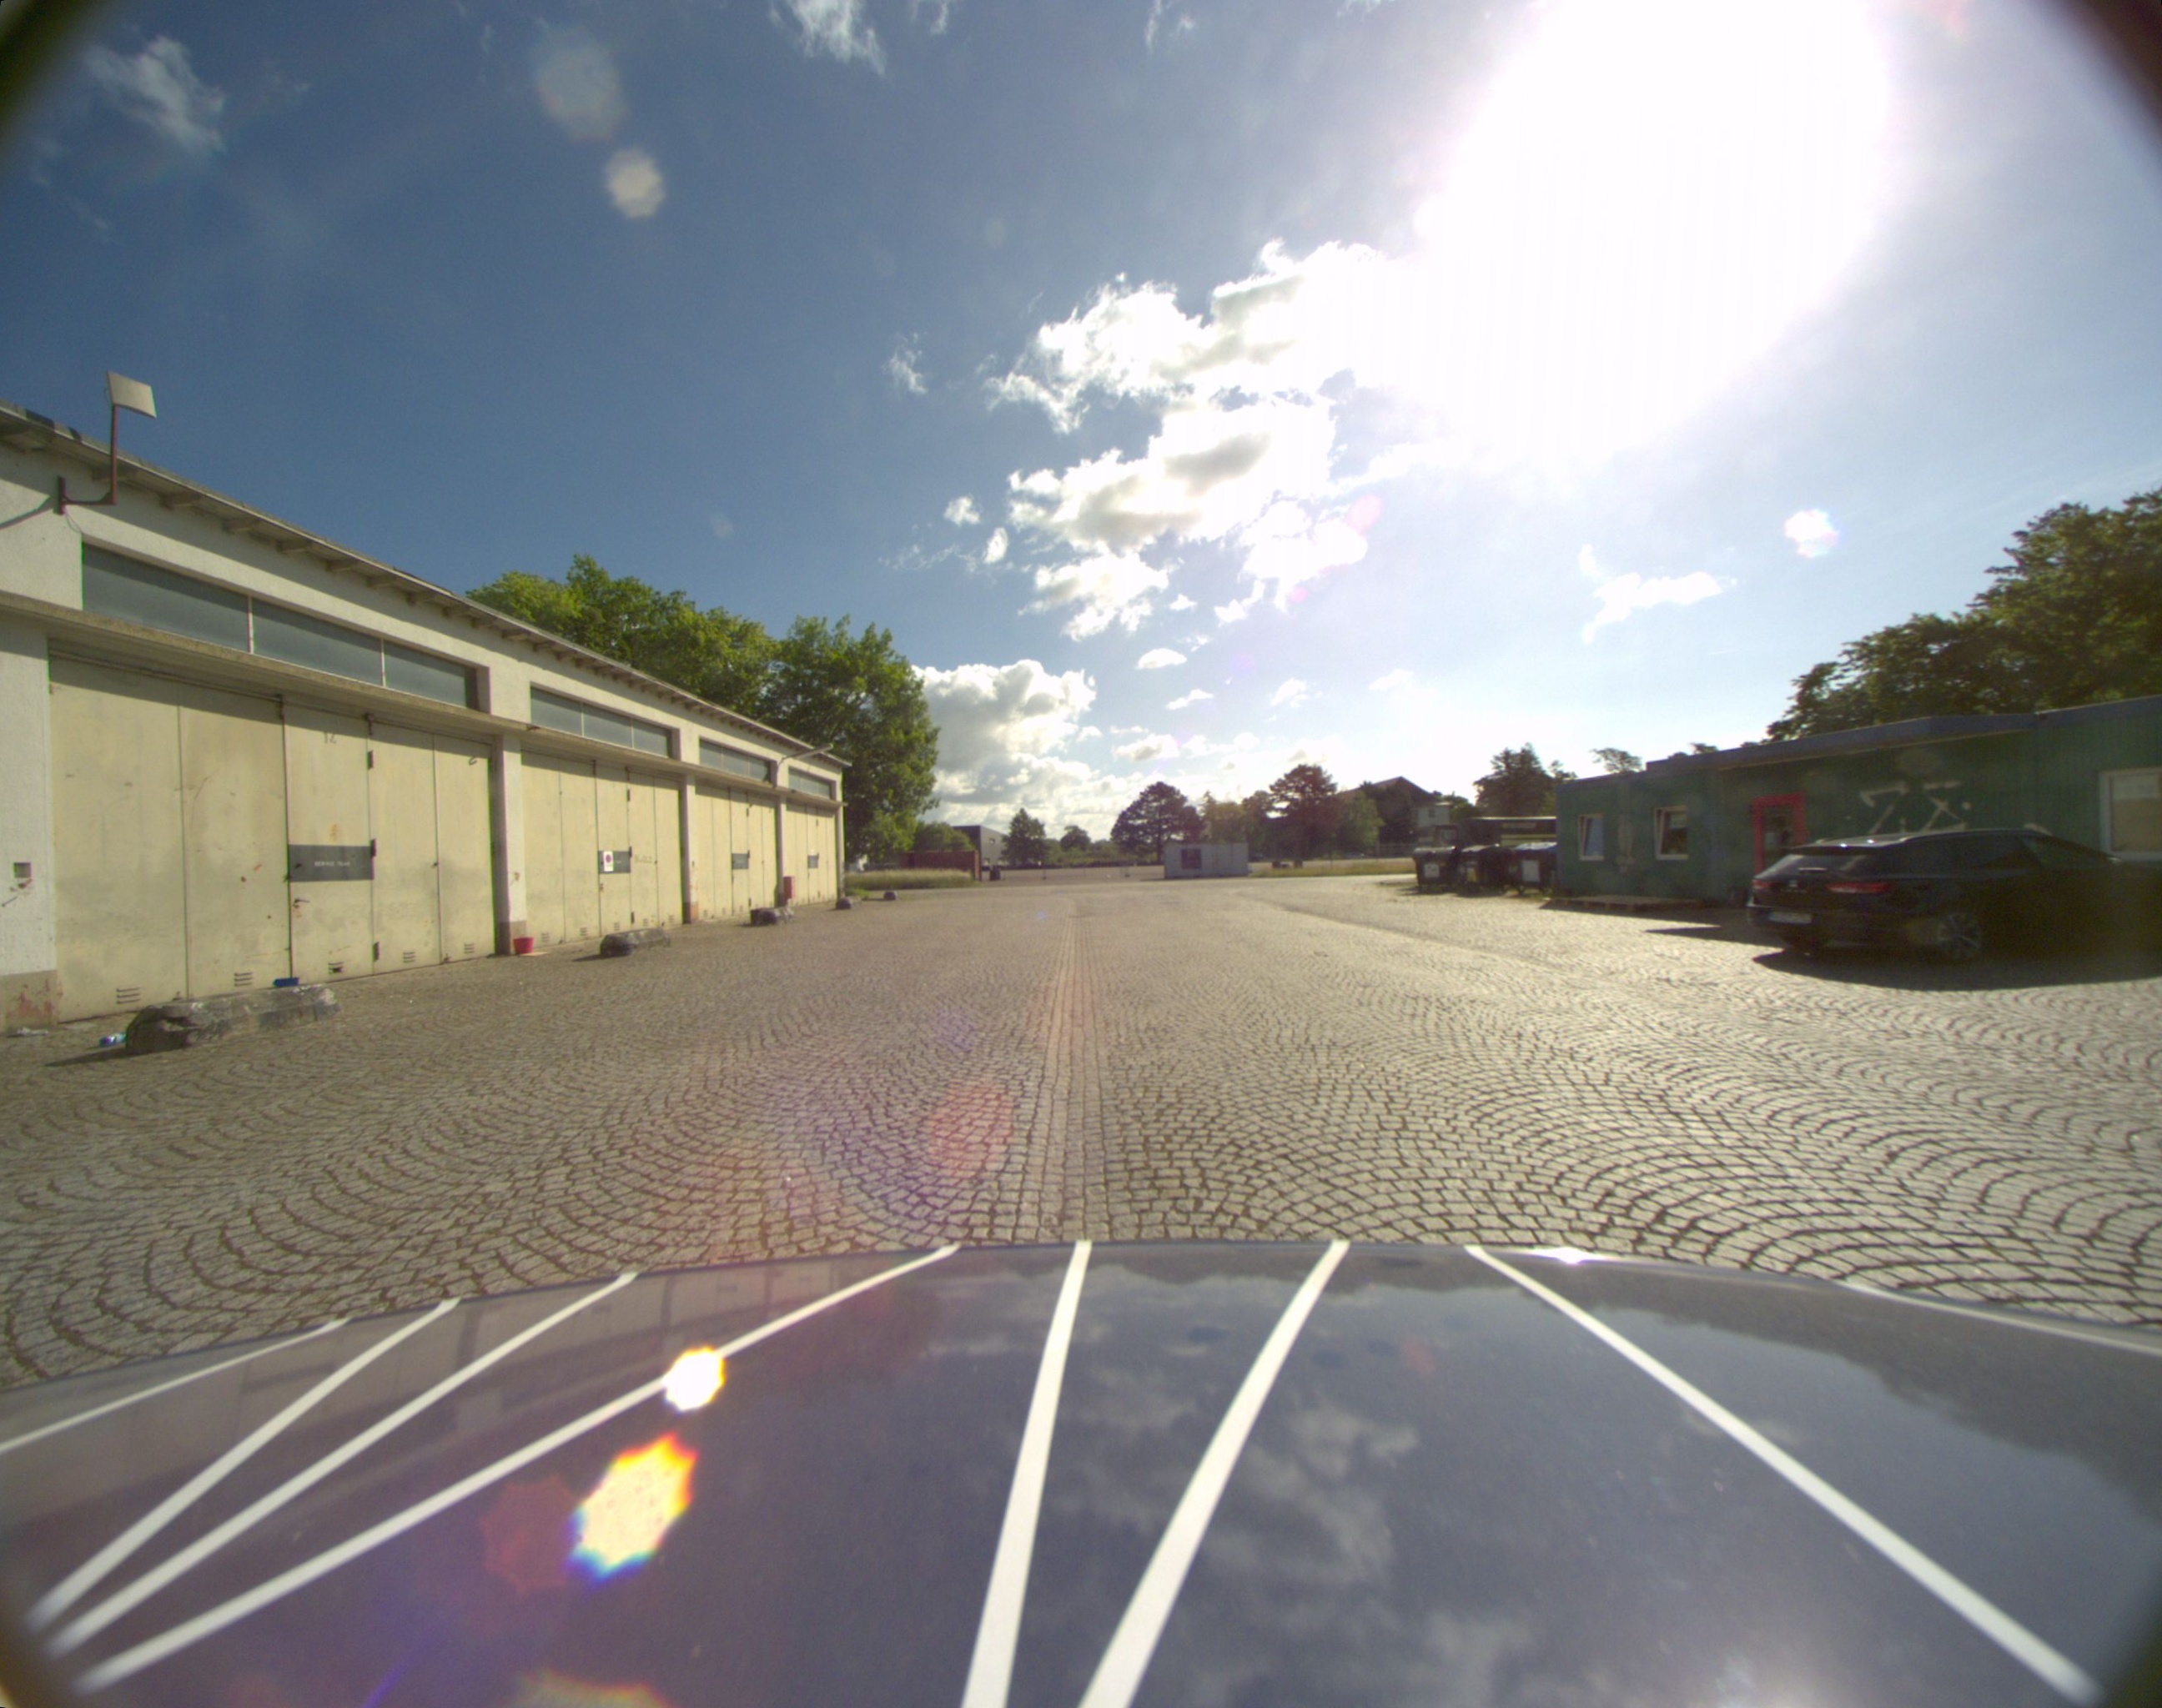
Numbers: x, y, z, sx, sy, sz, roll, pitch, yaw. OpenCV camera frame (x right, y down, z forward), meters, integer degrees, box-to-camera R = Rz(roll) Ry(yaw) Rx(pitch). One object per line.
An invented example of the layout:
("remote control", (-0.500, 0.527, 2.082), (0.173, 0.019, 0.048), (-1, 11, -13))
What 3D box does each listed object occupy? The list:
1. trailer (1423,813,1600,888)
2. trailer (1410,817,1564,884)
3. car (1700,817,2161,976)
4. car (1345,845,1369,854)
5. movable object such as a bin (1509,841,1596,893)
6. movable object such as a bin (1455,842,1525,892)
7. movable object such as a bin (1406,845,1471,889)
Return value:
("trailer", (14.920, -0.125, 26.509), (4.973, 2.341, 2.095), (-2, 0, -4))
("trailer", (15.379, -0.121, 28.995), (4.666, 2.284, 2.137), (-2, 0, 1))
("car", (10.406, 0.427, 9.081), (4.427, 1.456, 1.999), (-3, 0, -3))
("car", (53.668, -0.792, 147.736), (3.998, 1.573, 1.999), (-2, 0, -4))
("movable object such as a bin", (13.405, 0.361, 21.661), (1.386, 1.378, 1.534), (-2, 0, -12))
("movable object such as a bin", (12.513, 0.386, 23.305), (1.299, 1.414, 1.536), (-2, 0, 1))
("movable object such as a bin", (11.961, 0.442, 25.447), (1.389, 1.378, 1.531), (-2, 0, -44))
